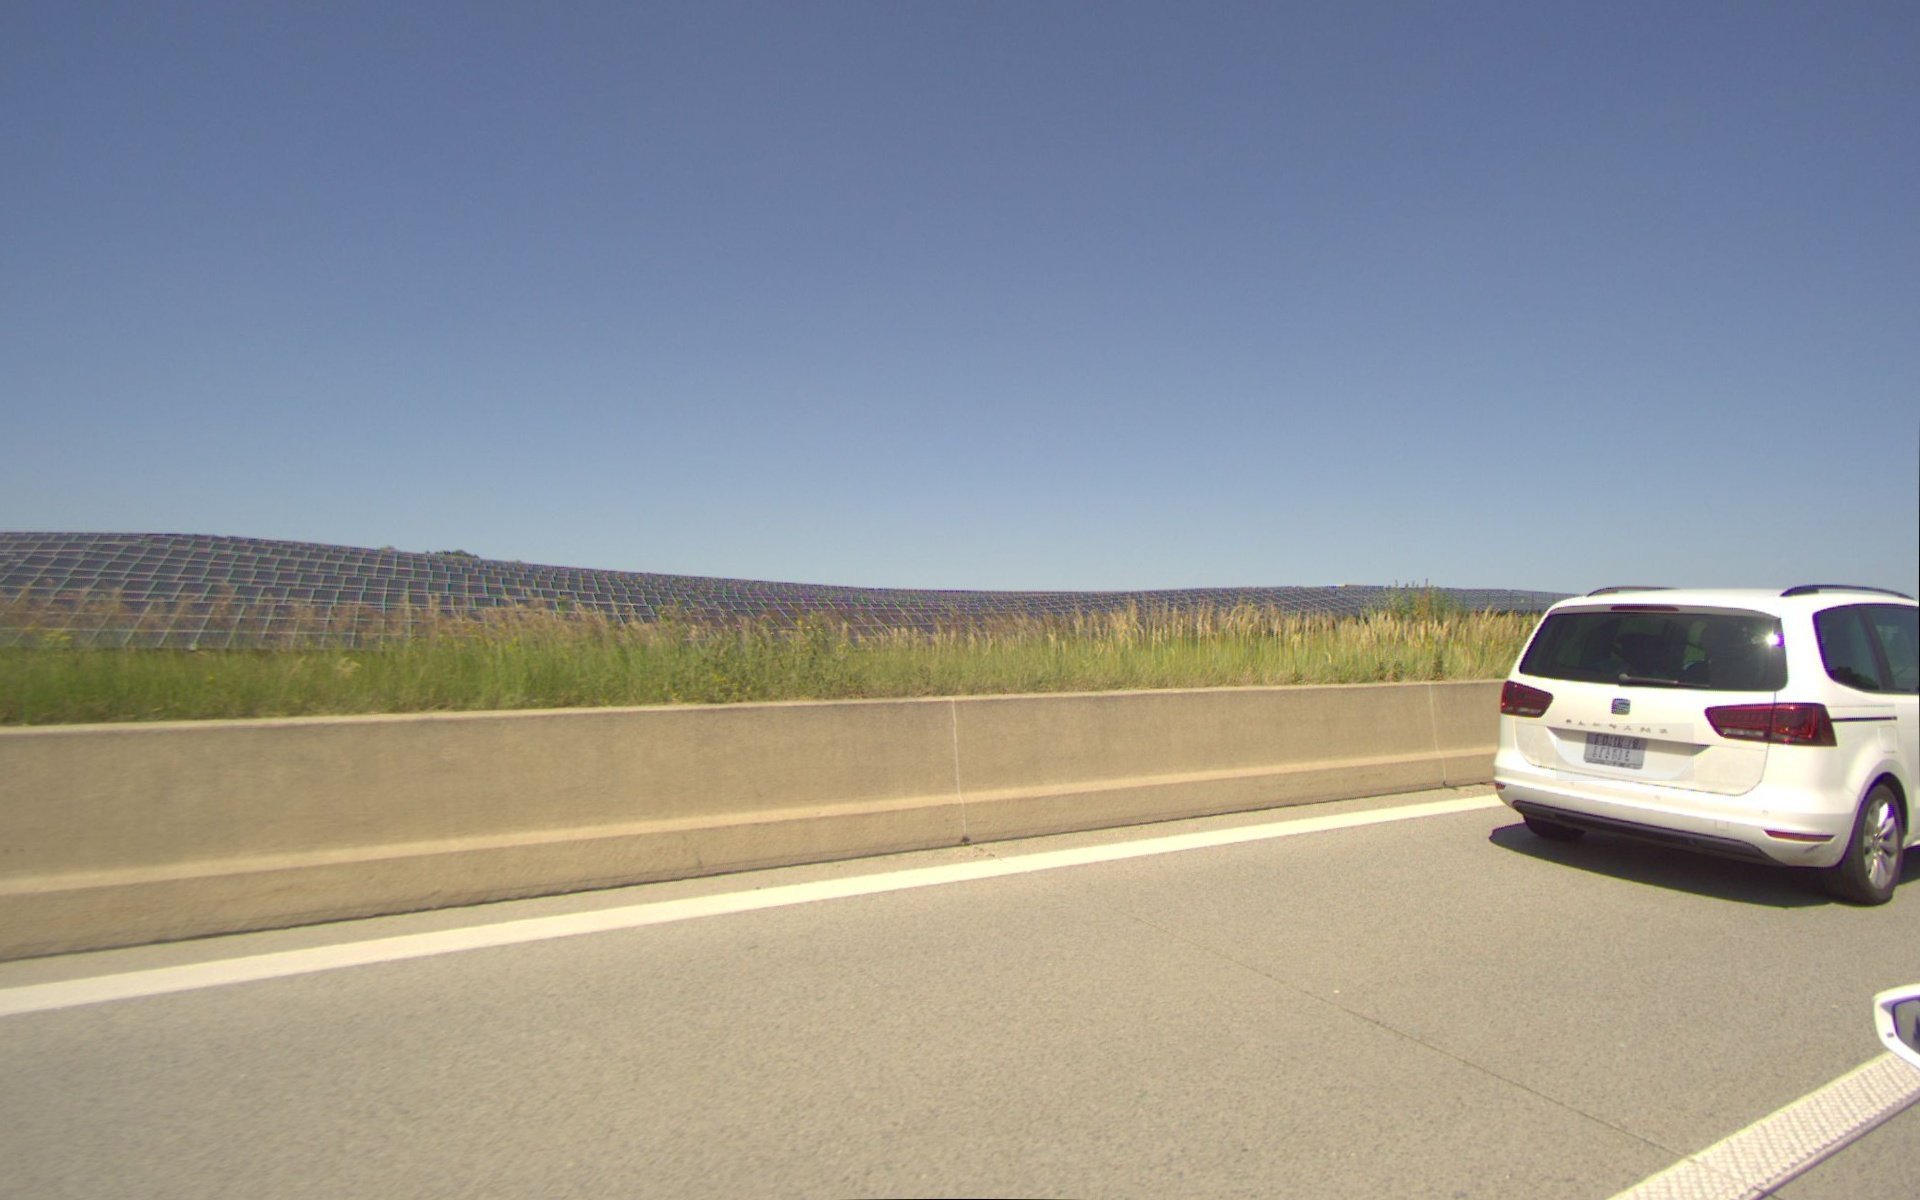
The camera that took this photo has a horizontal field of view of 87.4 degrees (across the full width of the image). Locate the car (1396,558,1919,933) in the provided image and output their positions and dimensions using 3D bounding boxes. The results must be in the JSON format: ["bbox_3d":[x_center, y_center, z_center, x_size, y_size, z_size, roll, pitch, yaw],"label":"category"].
[{"bbox_3d":[5.750,0.754,6.946,5.965,1.731,1.836,2,0,-30],"label":"car"}]

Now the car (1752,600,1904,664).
[{"bbox_3d":[30.194,1.122,34.887,6.277,2.040,2.172,2,0,-31],"label":"car"}]
